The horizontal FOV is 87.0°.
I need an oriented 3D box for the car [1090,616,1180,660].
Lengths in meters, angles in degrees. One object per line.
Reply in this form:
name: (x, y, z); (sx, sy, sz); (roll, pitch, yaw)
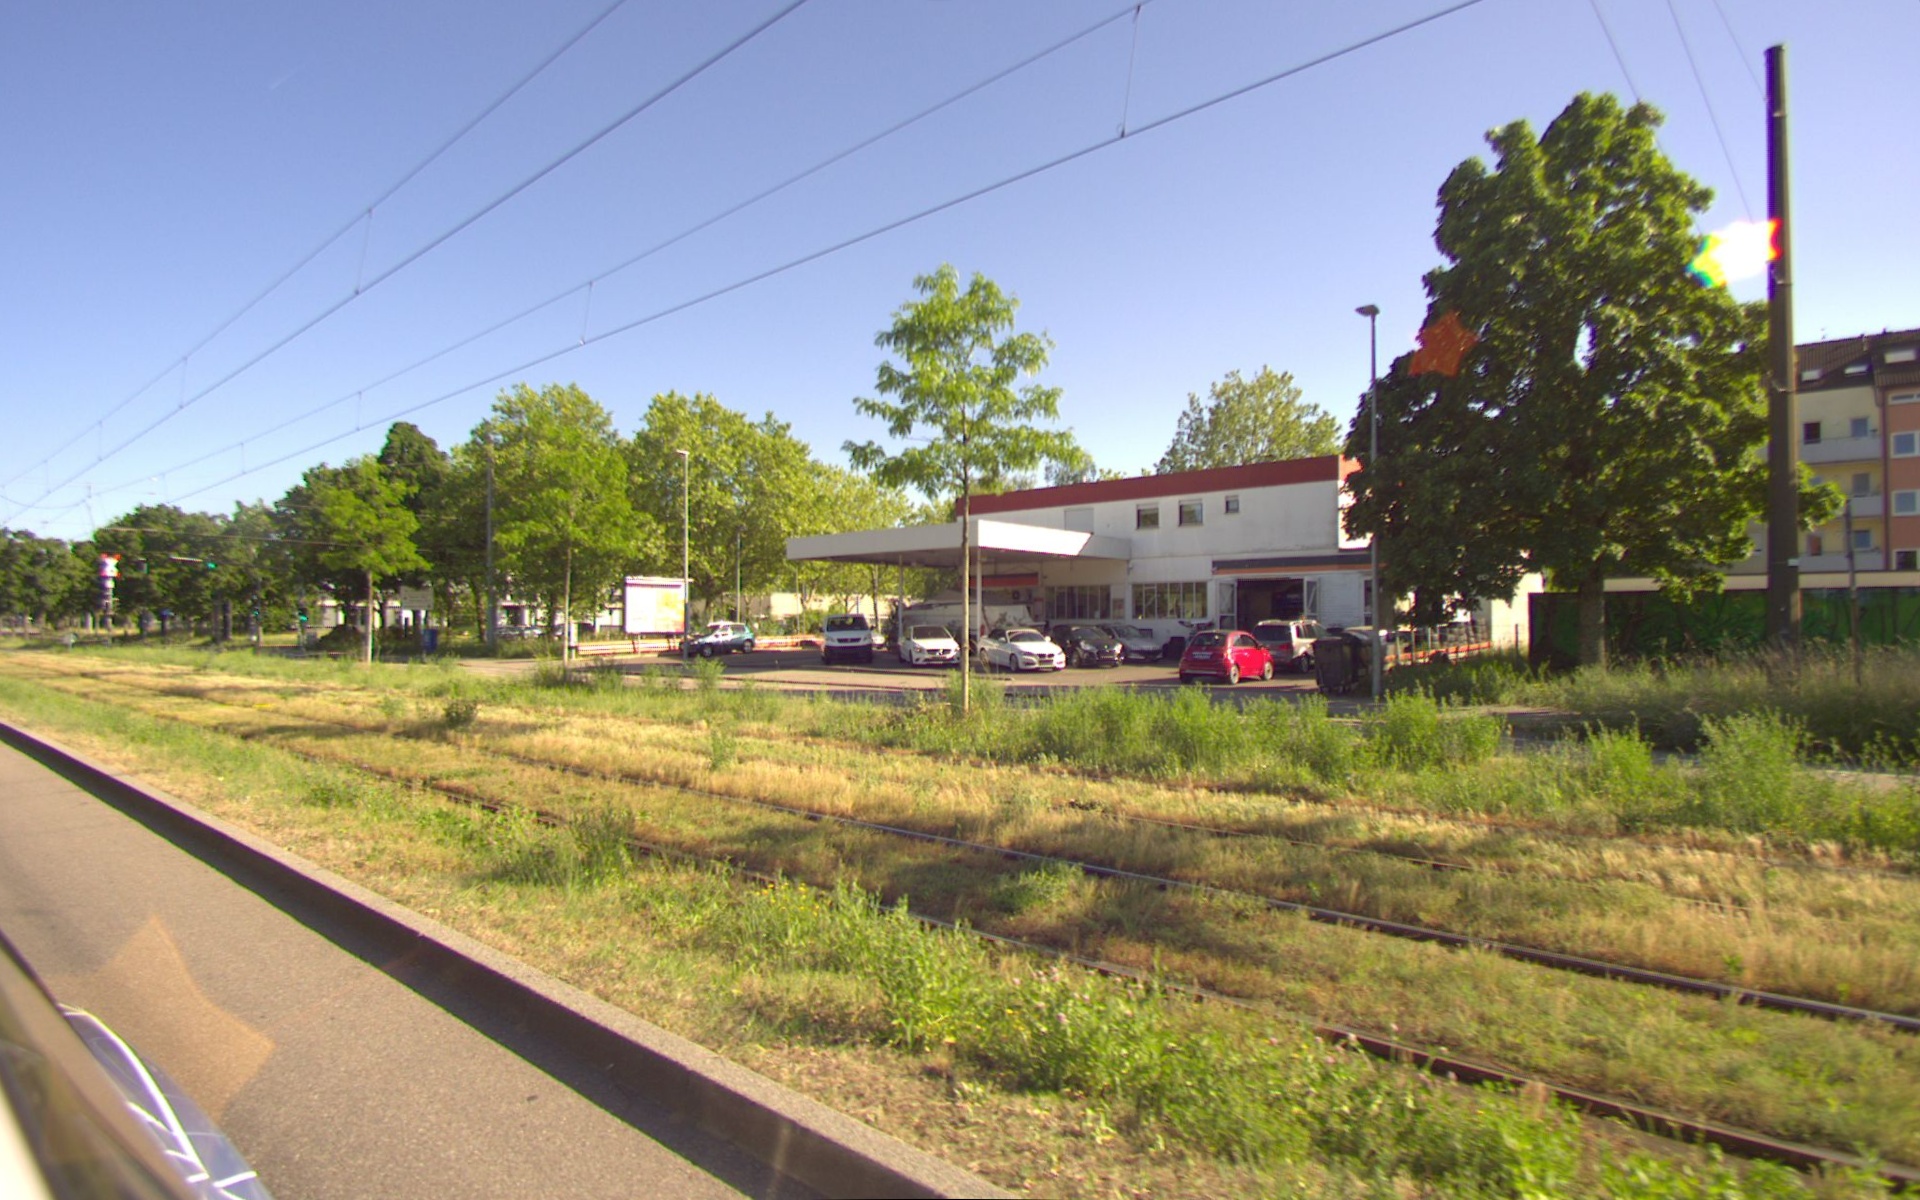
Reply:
car: (6.706, 1.424, 39.315); (1.994, 1.562, 4.311); (1, 0, -12)

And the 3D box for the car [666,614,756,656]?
car: (-12.498, 1.725, 50.938); (2.000, 1.871, 3.943); (-2, 0, 43)

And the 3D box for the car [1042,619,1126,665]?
car: (4.449, 1.489, 36.935); (1.820, 1.519, 4.000); (1, 0, -12)

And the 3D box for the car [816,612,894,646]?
car: (-5.976, 1.632, 57.134); (1.970, 1.833, 4.530); (2, -2, -45)

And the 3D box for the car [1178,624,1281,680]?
car: (7.885, 1.455, 29.440); (1.639, 1.523, 3.665); (-1, -2, 37)

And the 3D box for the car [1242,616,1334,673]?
car: (10.678, 1.386, 32.799); (1.703, 1.646, 3.709); (-1, 0, 37)

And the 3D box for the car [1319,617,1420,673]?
car: (12.553, 1.334, 30.924); (1.704, 1.521, 3.778); (-1, 0, 41)

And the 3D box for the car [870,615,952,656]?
car: (-2.453, 1.793, 52.041); (1.886, 2.002, 4.557); (-1, -2, 34)

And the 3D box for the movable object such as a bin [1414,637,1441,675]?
movable object such as a bin: (13.249, 1.585, 28.681); (0.602, 1.037, 0.499); (-1, -1, 37)

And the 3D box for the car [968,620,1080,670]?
car: (2.109, 1.491, 35.165); (1.992, 1.519, 4.905); (1, 0, -21)

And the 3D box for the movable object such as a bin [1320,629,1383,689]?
movable object such as a bin: (9.465, 1.406, 24.450); (1.119, 1.375, 1.212); (-1, -1, 38)

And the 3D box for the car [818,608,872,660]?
car: (-4.625, 1.333, 40.162); (1.868, 1.925, 4.820); (-1, -1, -9)

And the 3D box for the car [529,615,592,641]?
car: (-30.472, 2.135, 77.274); (1.997, 1.840, 4.002); (0, 0, 38)

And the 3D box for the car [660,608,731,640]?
car: (-17.026, 1.503, 65.228); (1.997, 1.876, 4.002); (-1, 1, 38)

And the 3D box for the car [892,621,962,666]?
car: (-1.286, 1.557, 37.244); (1.689, 1.435, 4.469); (-1, 0, -13)

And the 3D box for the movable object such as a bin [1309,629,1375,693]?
movable object such as a bin: (8.821, 1.388, 23.334); (1.119, 1.379, 1.212); (-1, 0, 38)
